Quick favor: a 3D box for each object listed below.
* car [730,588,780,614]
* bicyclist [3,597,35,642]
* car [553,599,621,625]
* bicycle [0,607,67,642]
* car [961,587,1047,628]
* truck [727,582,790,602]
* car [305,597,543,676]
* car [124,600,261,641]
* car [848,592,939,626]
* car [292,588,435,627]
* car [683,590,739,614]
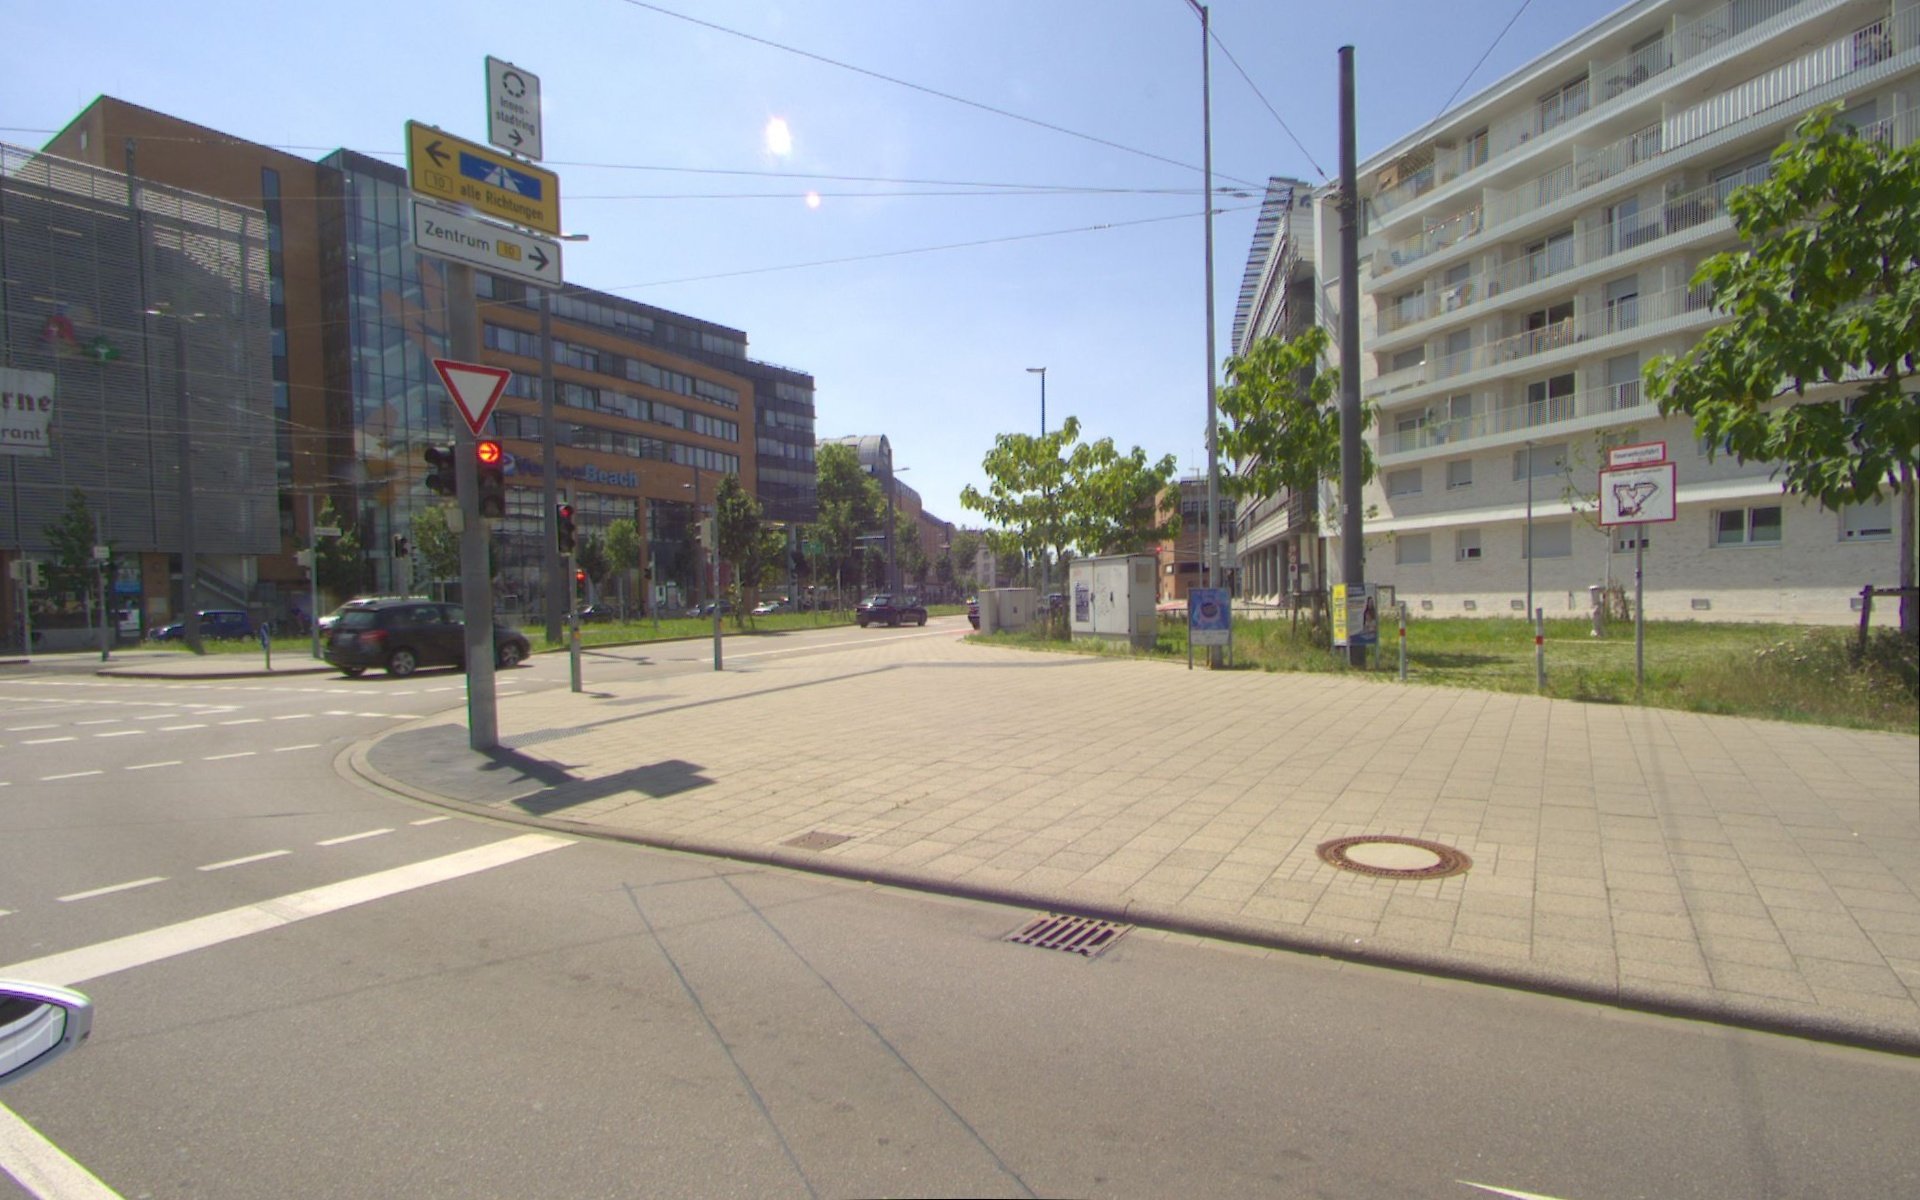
[{"bbox_3d":[-16.182,0.088,79.062,1.966,2.040,3.989,0,0,23],"label":"car"},{"bbox_3d":[-42.834,0.877,45.583,0.738,2.040,0.909,1,1,35],"label":"bicyclist"},{"bbox_3d":[-22.971,0.752,61.822,1.656,1.550,3.989,0,0,23],"label":"car"},{"bbox_3d":[-42.765,1.099,45.775,0.695,1.578,2.840,0,0,35],"label":"bicycle"},{"bbox_3d":[1.973,0.305,43.296,1.969,1.598,4.543,0,2,28],"label":"car"},{"bbox_3d":[-29.442,-1.162,146.449,9.067,2.846,1.998,0,0,13],"label":"truck"},{"bbox_3d":[-11.764,0.730,22.284,1.969,1.574,4.315,0,0,29],"label":"car"},{"bbox_3d":[-30.600,0.772,40.027,1.853,1.559,3.980,0,0,31],"label":"car"},{"bbox_3d":[-2.958,0.408,45.620,1.860,1.479,4.758,0,0,30],"label":"car"},{"bbox_3d":[-27.406,0.329,46.251,1.969,1.690,5.459,0,0,27],"label":"car"},{"bbox_3d":[-16.929,0.134,68.216,1.605,1.595,3.818,0,0,28],"label":"car"}]
